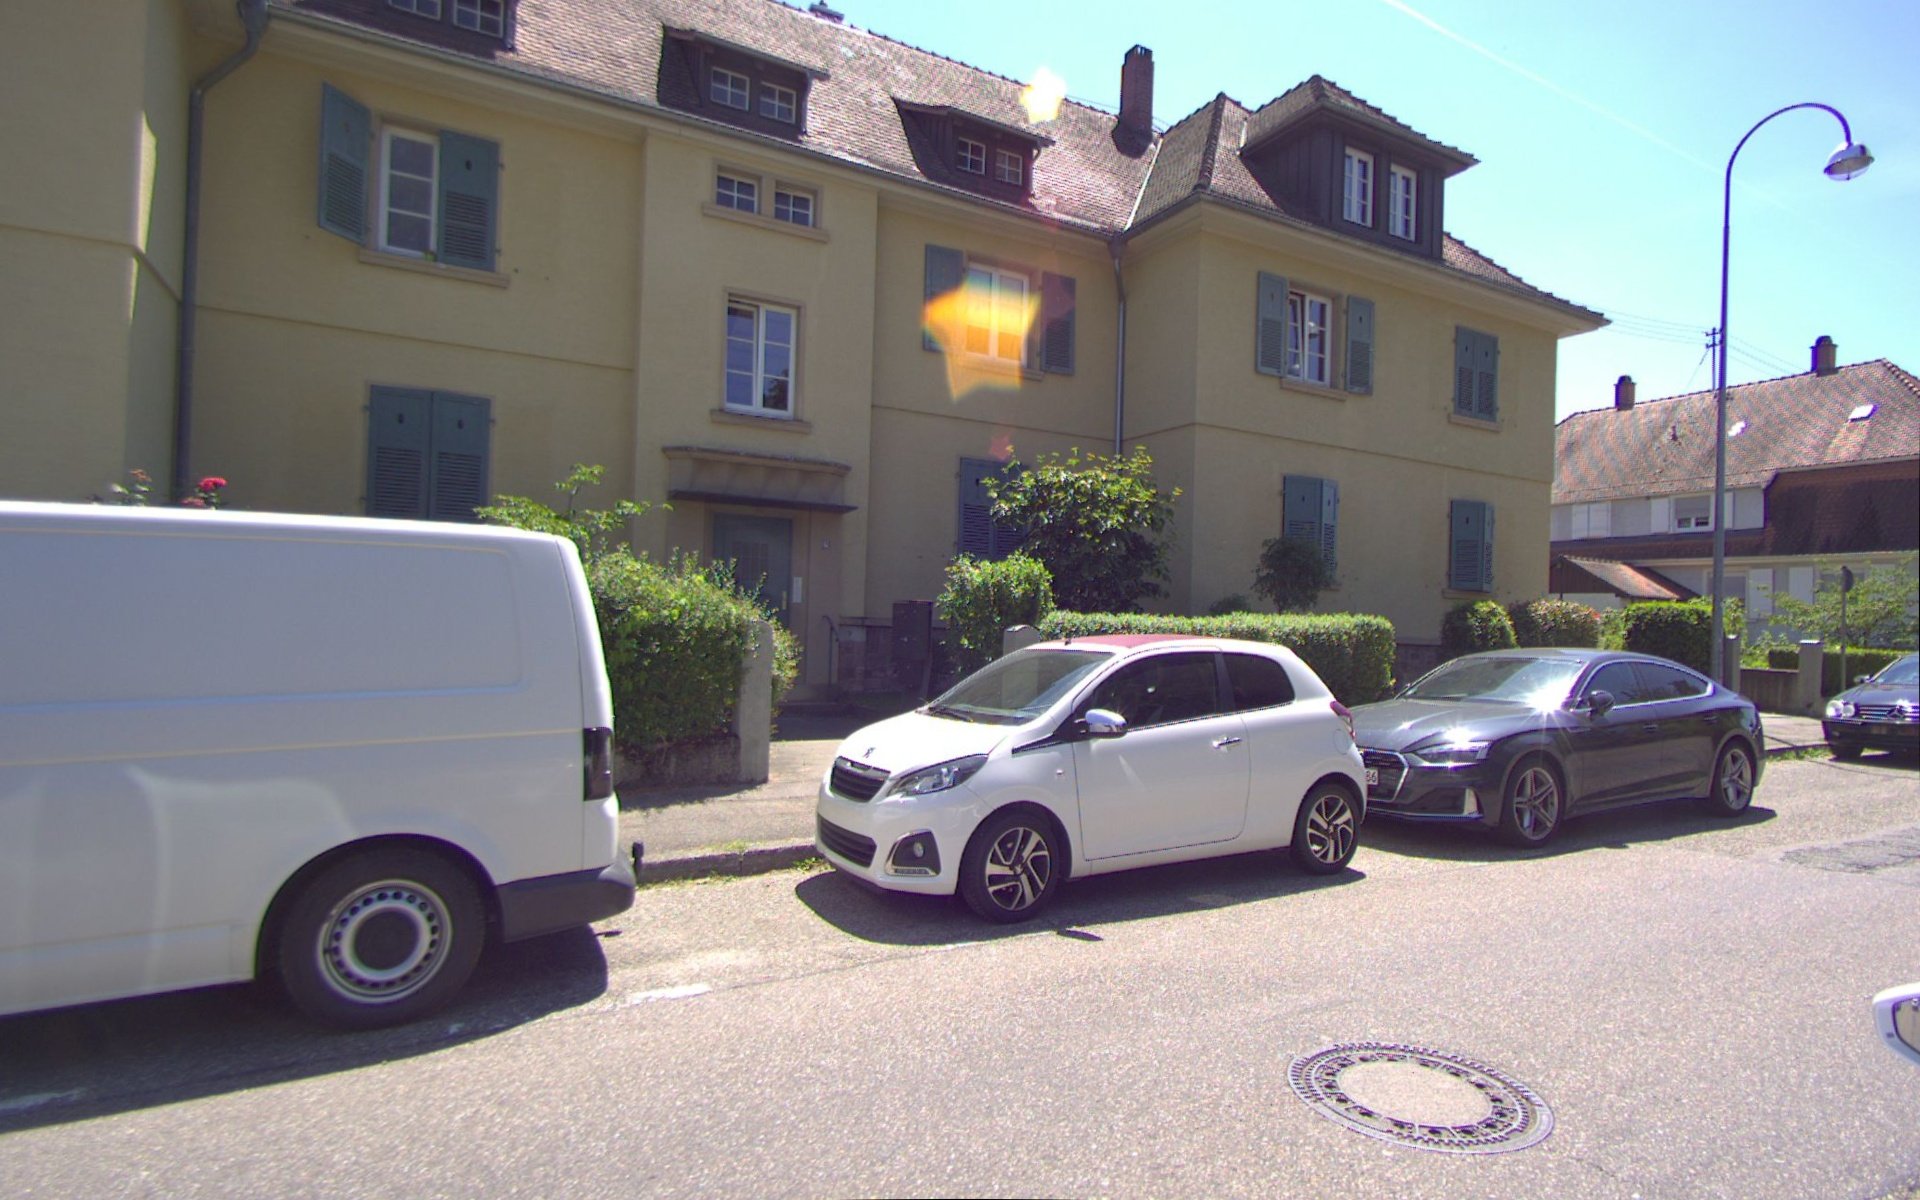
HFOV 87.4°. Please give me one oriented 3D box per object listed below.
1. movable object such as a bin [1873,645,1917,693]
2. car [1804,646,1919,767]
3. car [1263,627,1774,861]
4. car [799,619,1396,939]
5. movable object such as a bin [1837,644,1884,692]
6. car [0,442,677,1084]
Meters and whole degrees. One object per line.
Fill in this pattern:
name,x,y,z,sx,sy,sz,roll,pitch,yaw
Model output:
movable object such as a bin,26.661,1.959,28.639,0.909,1.339,0.686,2,-1,-31
car,12.893,1.301,12.923,4.326,1.404,1.659,2,-3,-29
car,4.758,1.022,8.403,4.411,1.512,1.659,2,-1,-29
car,0.900,0.915,6.334,3.435,1.512,1.659,2,-2,-29
movable object such as a bin,26.283,1.967,29.318,0.909,1.339,0.814,2,-1,-31
car,-3.614,0.540,3.845,4.570,1.988,1.870,2,-4,-29
